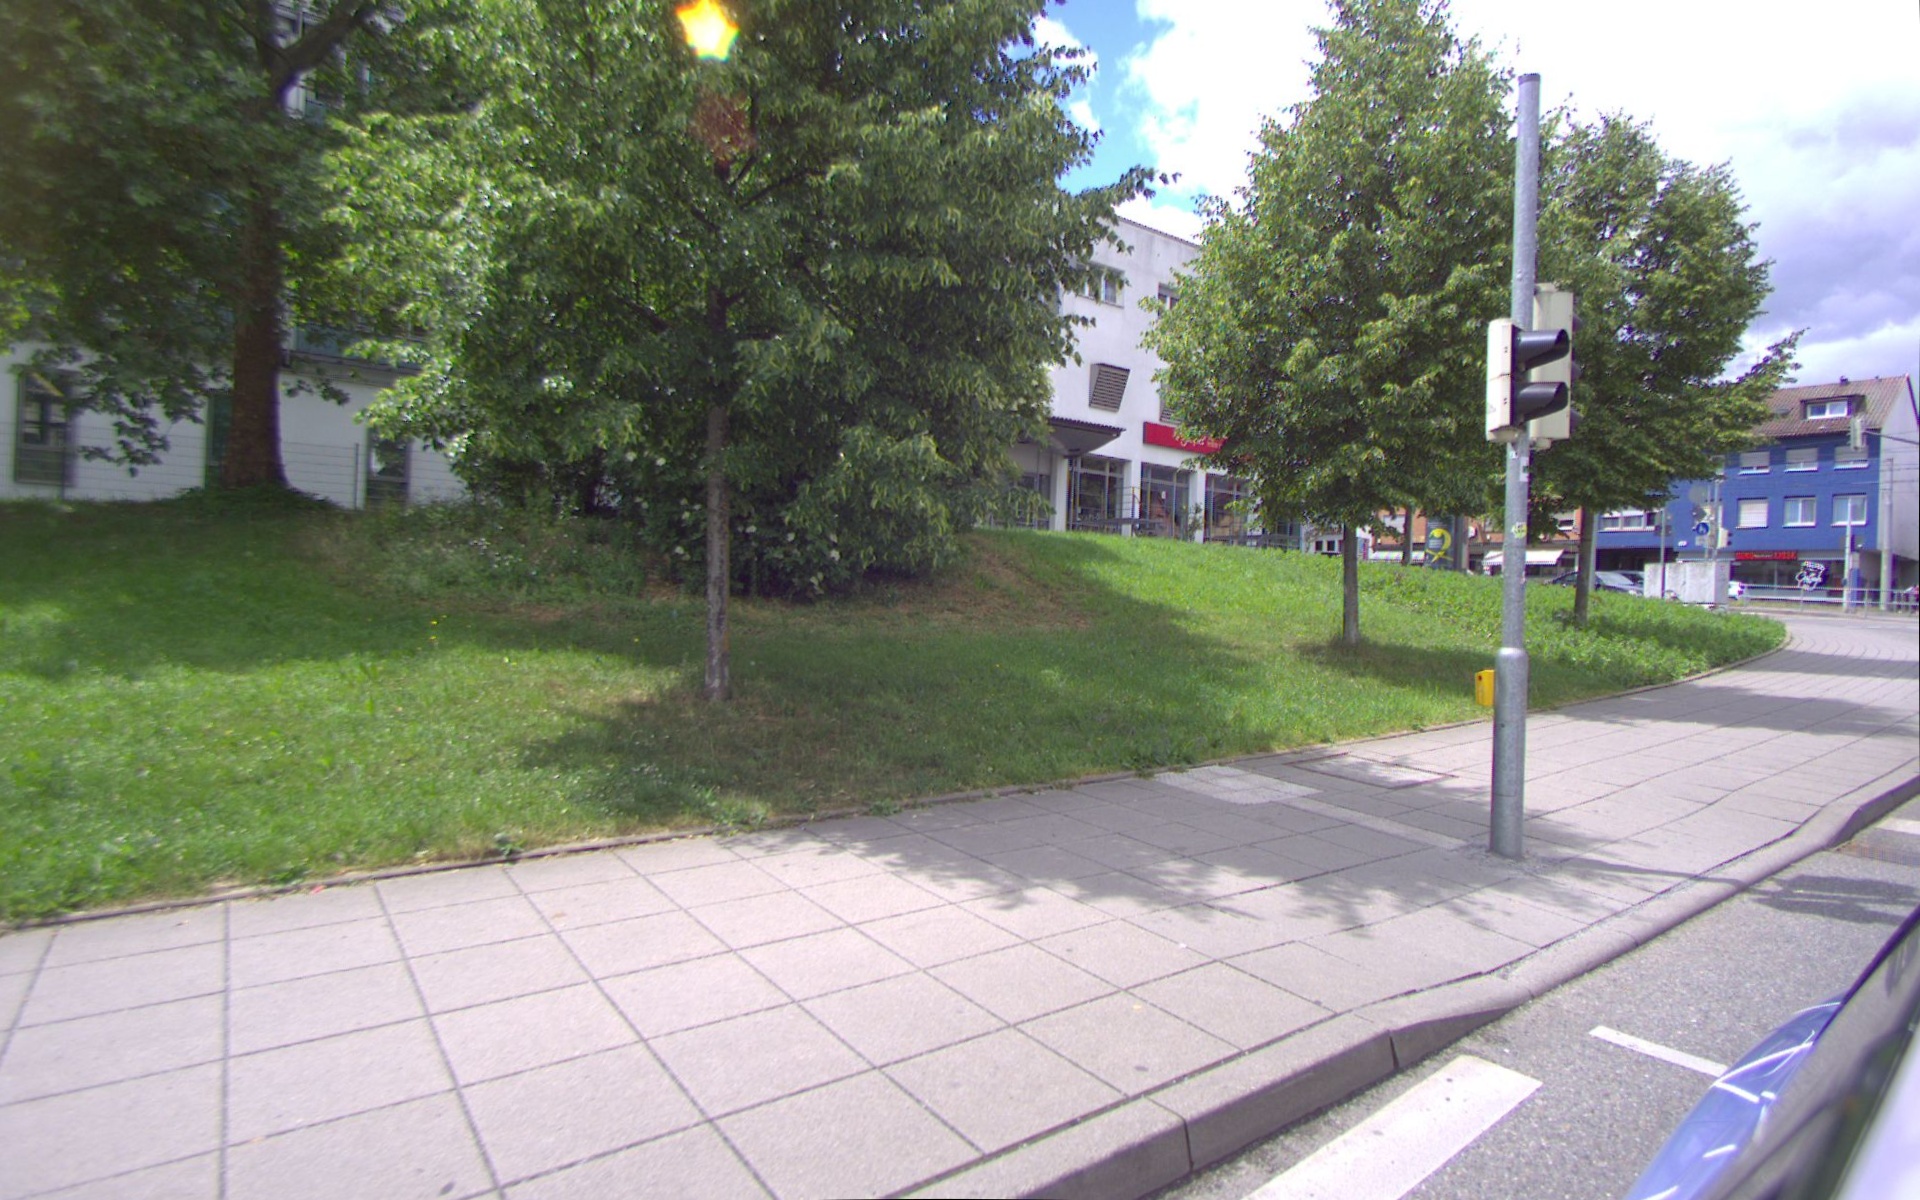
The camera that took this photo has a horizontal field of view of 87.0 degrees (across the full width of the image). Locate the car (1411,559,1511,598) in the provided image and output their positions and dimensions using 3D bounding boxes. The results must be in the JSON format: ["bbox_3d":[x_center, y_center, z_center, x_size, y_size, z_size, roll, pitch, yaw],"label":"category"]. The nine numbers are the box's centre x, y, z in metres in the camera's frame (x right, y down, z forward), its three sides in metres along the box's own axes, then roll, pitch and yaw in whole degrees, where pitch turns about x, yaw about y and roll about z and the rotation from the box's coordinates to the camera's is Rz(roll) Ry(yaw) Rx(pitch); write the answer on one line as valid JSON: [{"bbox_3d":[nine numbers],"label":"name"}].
[{"bbox_3d":[23.084,-0.985,46.777,1.958,1.663,4.009,2,1,-14],"label":"car"}]

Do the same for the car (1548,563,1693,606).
[{"bbox_3d":[24.887,-0.640,38.341,2.010,1.483,4.334,1,2,-14],"label":"car"}]

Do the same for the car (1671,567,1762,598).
[{"bbox_3d":[43.275,-0.990,57.958,3.987,1.551,1.686,4,1,43],"label":"car"}]
